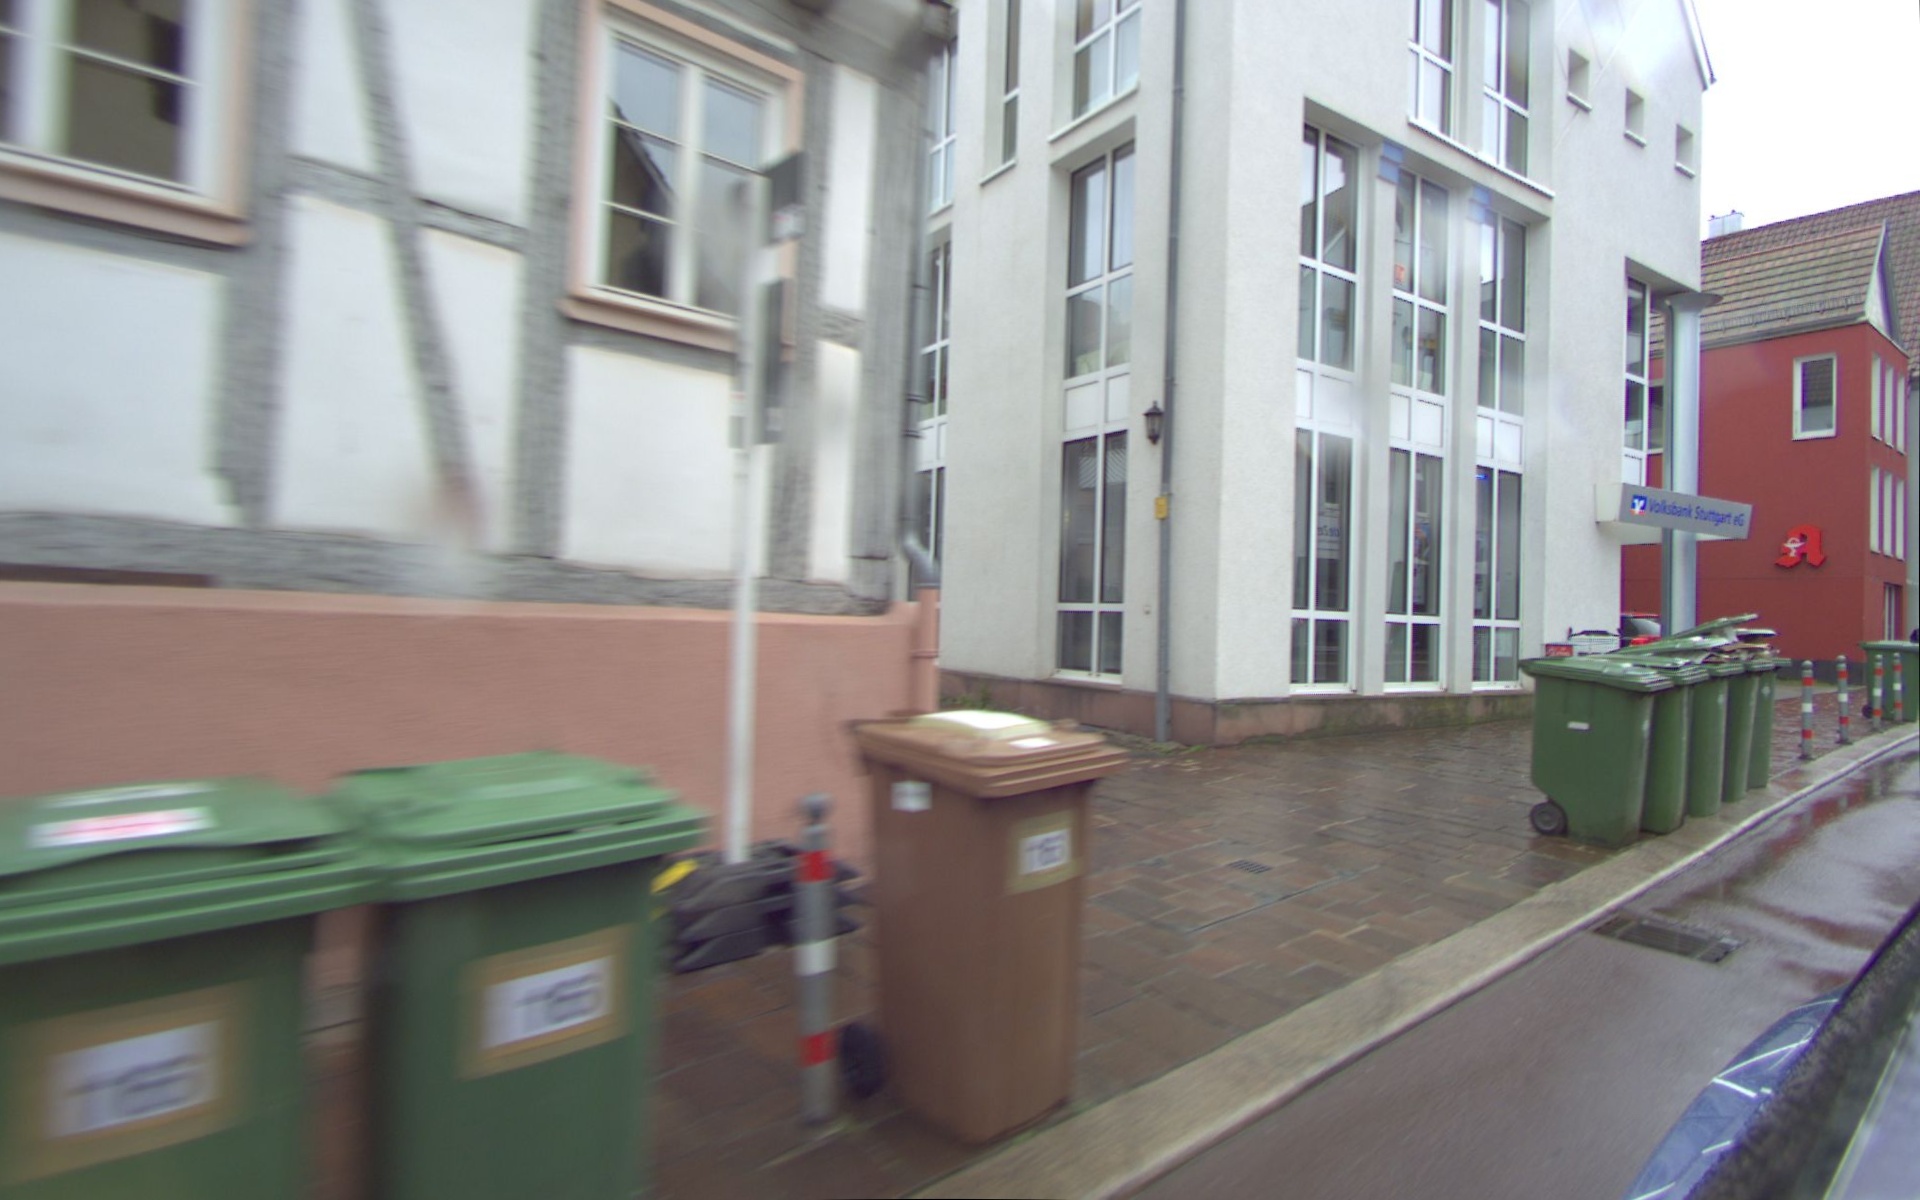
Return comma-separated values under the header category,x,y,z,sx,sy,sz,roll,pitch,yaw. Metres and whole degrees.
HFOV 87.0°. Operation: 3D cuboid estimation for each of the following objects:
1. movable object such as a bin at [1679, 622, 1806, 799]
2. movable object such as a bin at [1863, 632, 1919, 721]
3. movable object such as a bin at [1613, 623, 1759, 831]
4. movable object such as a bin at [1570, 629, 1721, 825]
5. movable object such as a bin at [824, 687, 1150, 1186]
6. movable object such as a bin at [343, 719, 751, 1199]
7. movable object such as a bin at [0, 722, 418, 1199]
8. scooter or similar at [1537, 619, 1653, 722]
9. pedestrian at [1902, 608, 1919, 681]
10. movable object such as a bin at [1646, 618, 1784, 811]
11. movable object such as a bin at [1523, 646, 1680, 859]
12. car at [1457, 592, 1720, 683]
category,x,y,z,sx,sy,sz,roll,pitch,yaw
movable object such as a bin,6.214,0.841,8.042,0.620,1.307,0.640,0,-1,-35
movable object such as a bin,12.904,1.025,13.795,0.847,1.145,0.805,0,0,-42
movable object such as a bin,4.950,0.823,6.906,0.620,1.307,0.640,0,-1,-35
movable object such as a bin,4.387,0.770,6.485,0.620,1.146,0.618,0,-1,-35
movable object such as a bin,0.071,0.840,2.883,0.639,1.110,0.678,1,-1,-44
movable object such as a bin,-0.850,0.850,2.051,0.578,1.095,0.670,0,1,-42
movable object such as a bin,-1.296,0.832,1.619,0.621,1.161,0.639,0,-1,-42
scooter or similar,7.739,0.822,12.326,1.418,1.160,0.667,0,0,-33
pedestrian,23.226,1.075,23.997,1.157,1.719,1.179,2,0,-43
movable object such as a bin,5.513,0.793,7.397,0.620,1.307,0.640,0,-1,-35
movable object such as a bin,3.858,0.873,6.093,0.620,1.146,0.618,0,-1,-37
car,12.299,0.686,20.085,1.873,1.533,4.005,2,0,-29
